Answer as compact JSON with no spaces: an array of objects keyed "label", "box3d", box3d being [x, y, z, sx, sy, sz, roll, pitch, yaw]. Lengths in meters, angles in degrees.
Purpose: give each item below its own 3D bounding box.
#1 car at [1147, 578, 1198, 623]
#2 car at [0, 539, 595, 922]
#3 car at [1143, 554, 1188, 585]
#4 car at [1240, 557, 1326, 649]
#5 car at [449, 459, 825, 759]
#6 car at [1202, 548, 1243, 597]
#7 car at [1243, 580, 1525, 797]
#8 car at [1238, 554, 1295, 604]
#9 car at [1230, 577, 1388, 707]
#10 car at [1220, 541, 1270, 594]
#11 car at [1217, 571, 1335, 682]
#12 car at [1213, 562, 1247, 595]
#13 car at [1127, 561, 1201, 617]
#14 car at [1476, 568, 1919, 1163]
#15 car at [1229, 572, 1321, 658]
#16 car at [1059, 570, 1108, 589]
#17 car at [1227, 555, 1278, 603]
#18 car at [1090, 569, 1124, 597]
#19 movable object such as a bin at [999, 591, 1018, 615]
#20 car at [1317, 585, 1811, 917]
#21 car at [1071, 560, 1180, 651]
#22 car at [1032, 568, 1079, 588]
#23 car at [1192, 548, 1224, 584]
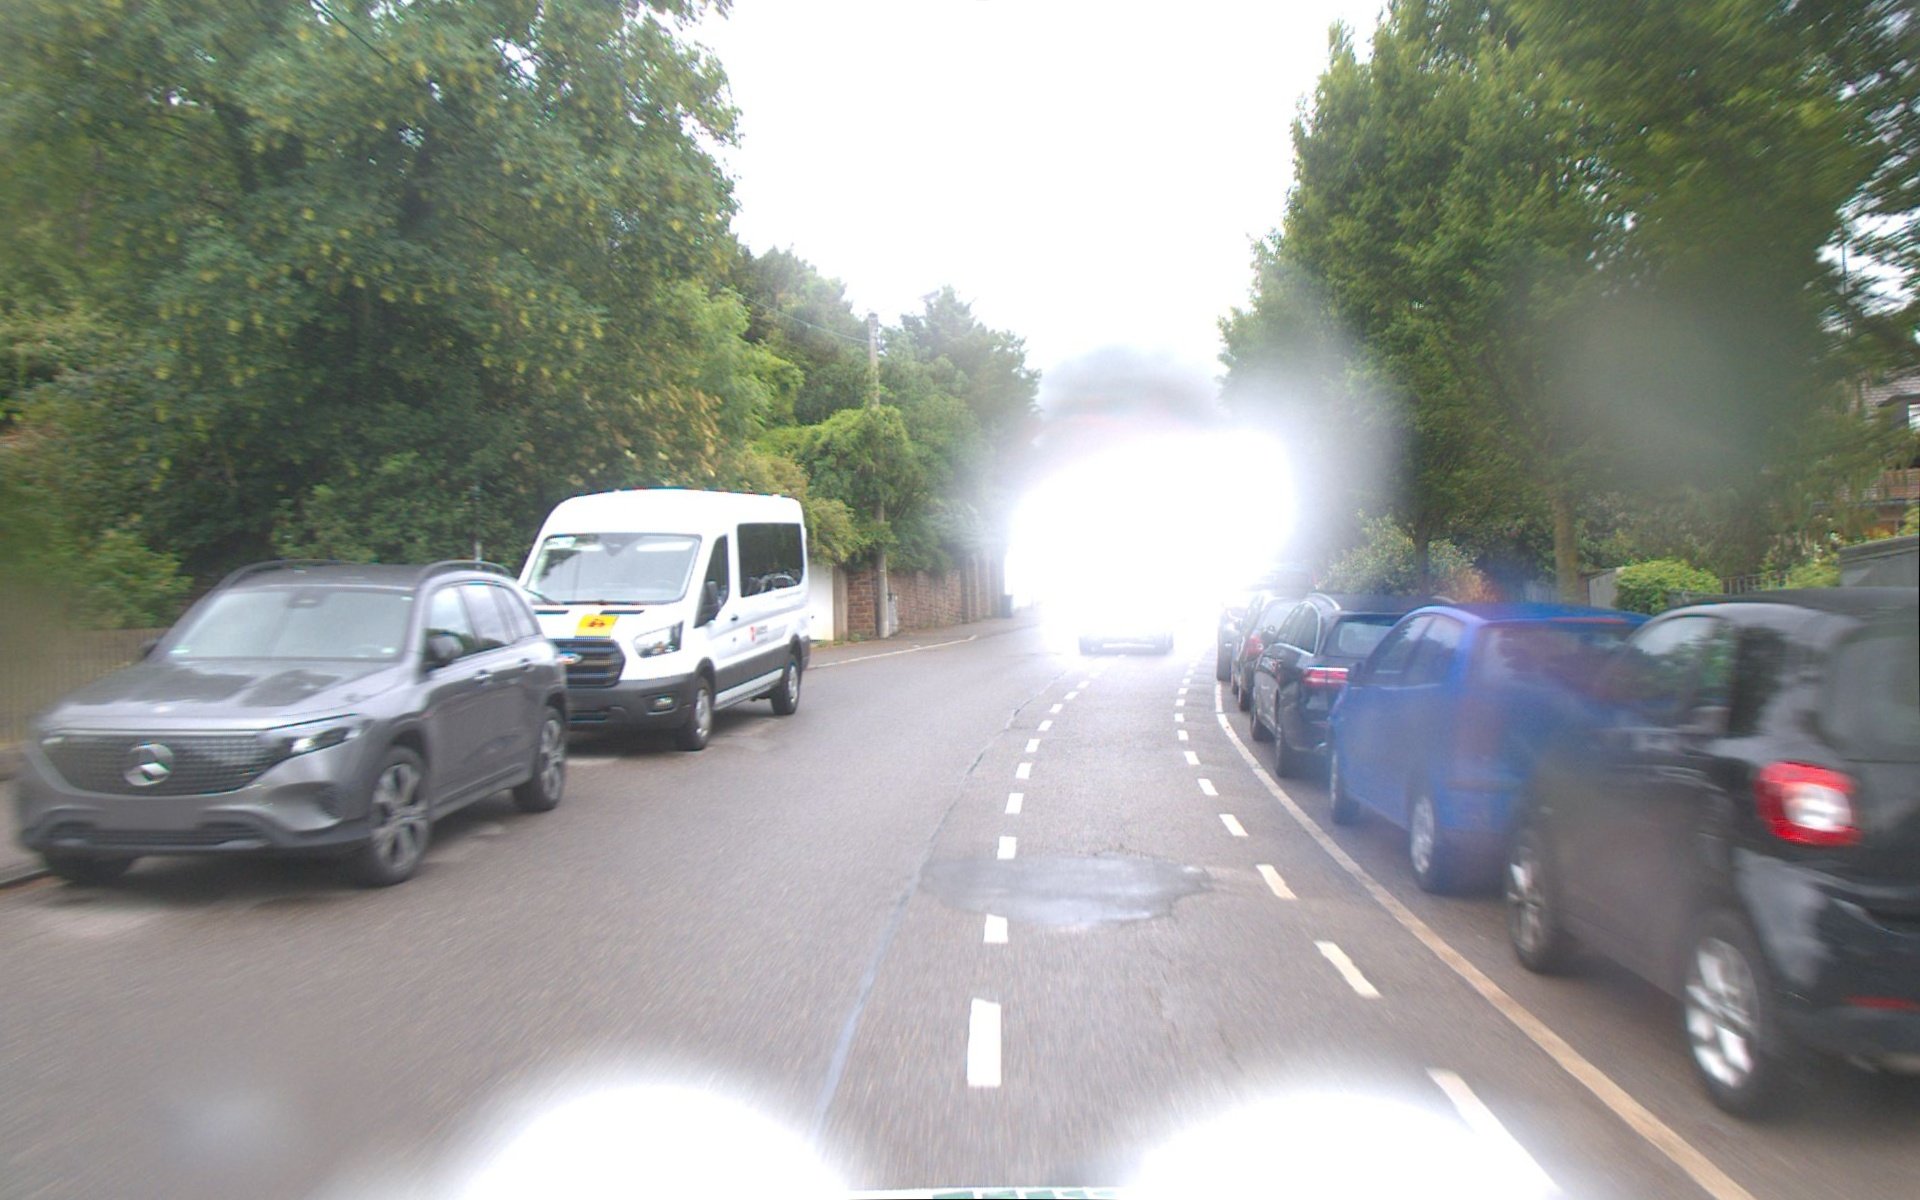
[{"label":"car","box3d":[8.639,0.020,67.022,1.951,1.738,4.003,0,0,8]},{"label":"car","box3d":[-3.673,0.575,9.826,1.856,1.721,4.546,-1,1,1]},{"label":"car","box3d":[17.547,-2.655,141.383,2.092,2.571,4.474,0,1,-18]},{"label":"car","box3d":[7.102,0.006,36.621,1.740,1.884,4.429,0,1,10]},{"label":"car","box3d":[-3.081,0.028,17.483,2.049,2.594,6.102,-1,1,7]},{"label":"car","box3d":[16.183,-1.705,102.105,2.079,2.937,5.774,1,1,5]},{"label":"car","box3d":[3.582,0.627,14.778,1.738,1.580,4.732,1,1,6]},{"label":"car","box3d":[11.515,-0.816,62.405,1.742,1.814,4.683,-1,1,6]},{"label":"car","box3d":[4.371,0.452,21.203,1.608,1.449,4.291,1,1,7]},{"label":"car","box3d":[14.276,-1.642,83.088,2.127,2.536,6.039,1,1,7]},{"label":"car","box3d":[4.999,0.348,26.439,1.677,1.583,4.168,2,1,9]},{"label":"car","box3d":[15.623,-1.262,96.002,1.691,1.816,4.279,3,1,7]},{"label":"car","box3d":[6.515,-0.338,53.191,1.952,1.738,4.000,0,0,1]},{"label":"car","box3d":[3.086,0.704,5.930,1.593,1.590,3.023,0,0,1]},{"label":"car","box3d":[6.031,0.229,31.603,1.613,1.507,4.023,1,1,11]},{"label":"car","box3d":[11.436,-1.901,153.091,1.954,1.727,4.427,0,2,-42]},{"label":"car","box3d":[13.298,-0.958,75.483,1.951,2.088,5.125,0,1,6]},{"label":"car","box3d":[8.008,-0.928,89.878,1.711,1.381,4.428,-3,1,6]},{"label":"movable object such as a bin","box3d":[1.948,0.103,66.379,0.644,0.935,0.678,-1,1,9]},{"label":"car","box3d":[3.302,0.699,9.880,1.619,1.546,4.001,1,1,2]},{"label":"car","box3d":[3.462,0.103,33.966,1.982,1.738,4.219,0,0,9]},{"label":"car","box3d":[8.995,-2.084,156.073,1.951,1.727,4.605,0,2,-39]},{"label":"car","box3d":[17.632,-2.420,117.672,2.020,2.537,4.763,1,1,7]}]
